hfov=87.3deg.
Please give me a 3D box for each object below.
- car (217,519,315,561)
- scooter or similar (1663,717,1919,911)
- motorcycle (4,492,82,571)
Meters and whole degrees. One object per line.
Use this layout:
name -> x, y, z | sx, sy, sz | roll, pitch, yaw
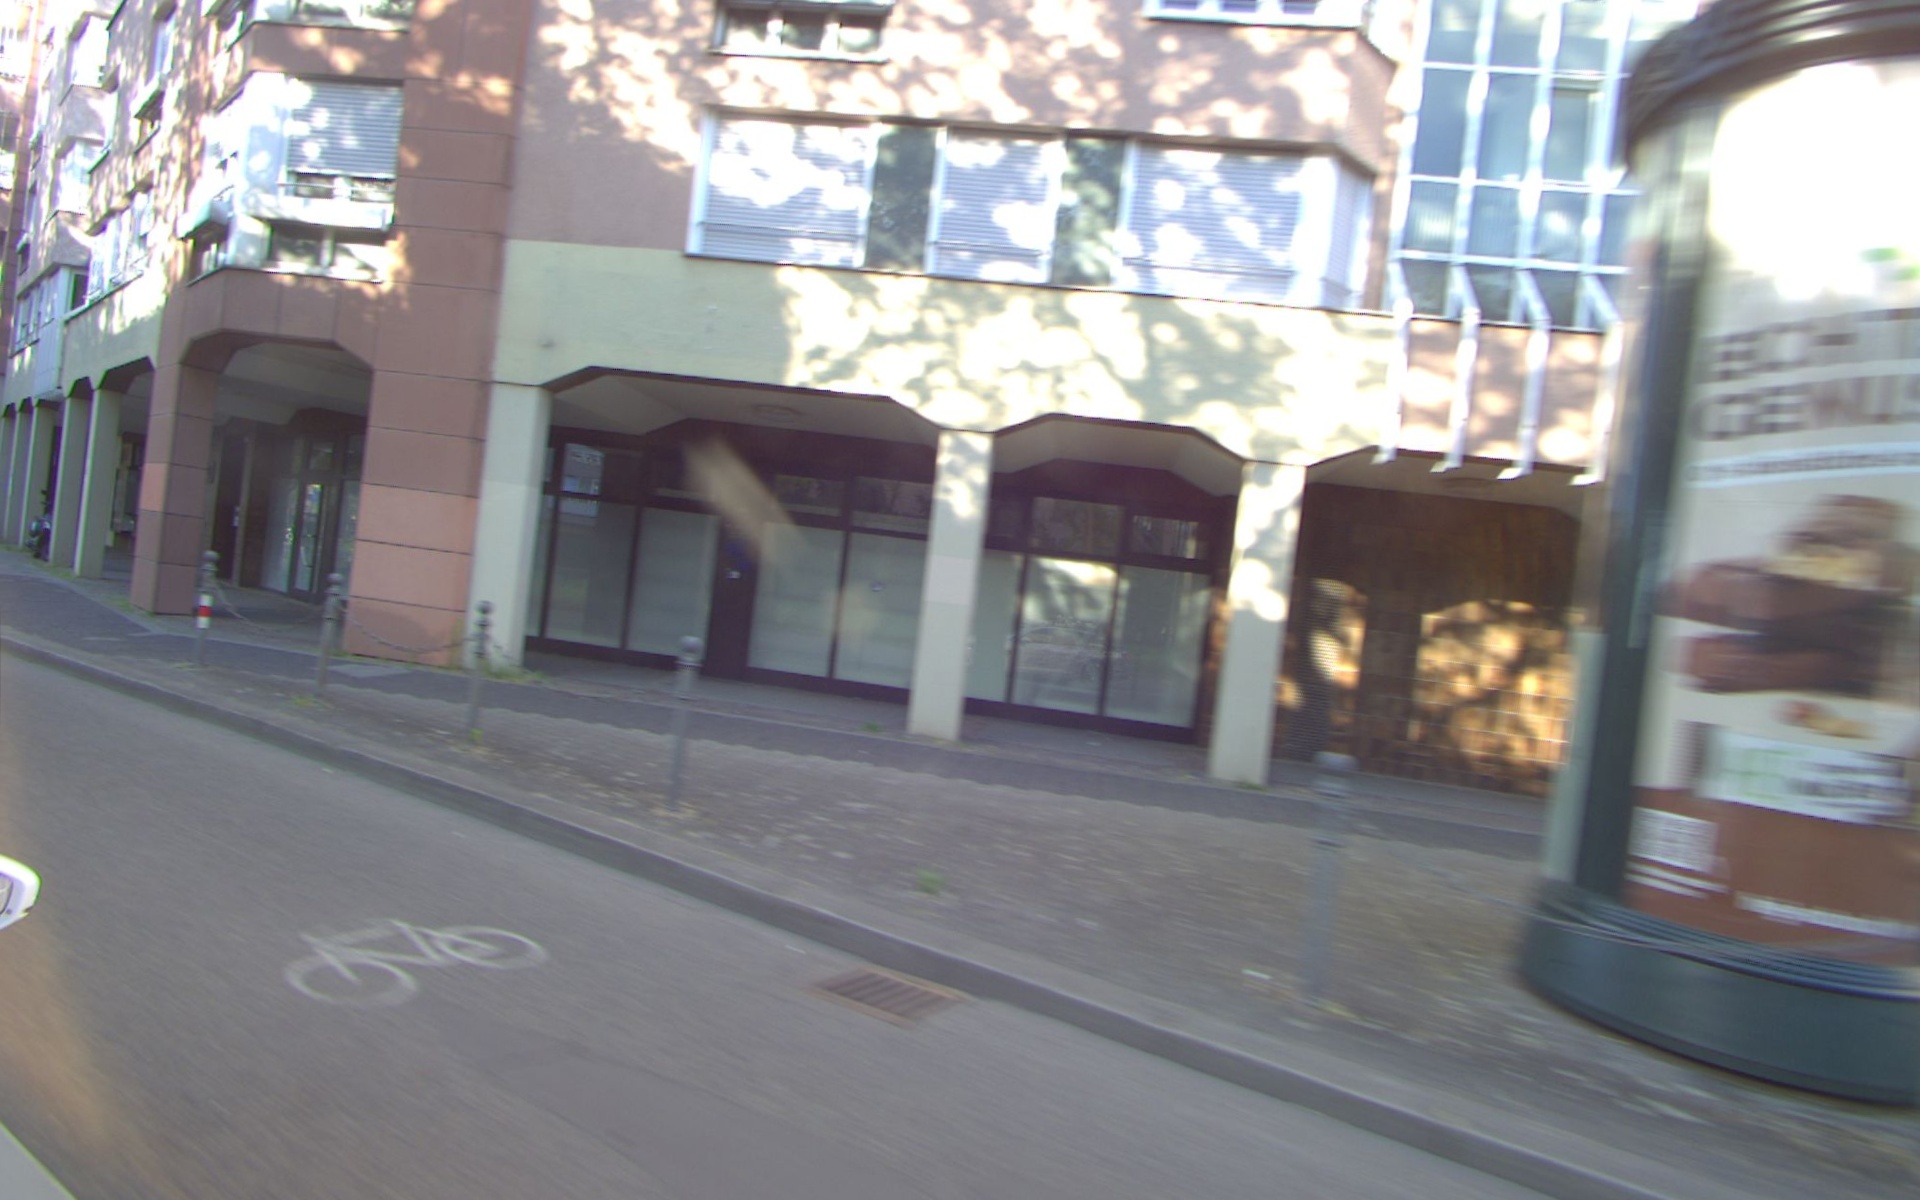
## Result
car -> -39.657, -3.422, 57.575 | 1.775, 1.742, 4.183 | 7, -1, 39
scooter or similar -> 6.530, 1.651, 7.929 | 1.423, 1.231, 0.486 | 7, 0, 11
motorcycle -> -18.445, -1.396, 20.221 | 2.055, 1.389, 0.489 | 7, 0, 31
